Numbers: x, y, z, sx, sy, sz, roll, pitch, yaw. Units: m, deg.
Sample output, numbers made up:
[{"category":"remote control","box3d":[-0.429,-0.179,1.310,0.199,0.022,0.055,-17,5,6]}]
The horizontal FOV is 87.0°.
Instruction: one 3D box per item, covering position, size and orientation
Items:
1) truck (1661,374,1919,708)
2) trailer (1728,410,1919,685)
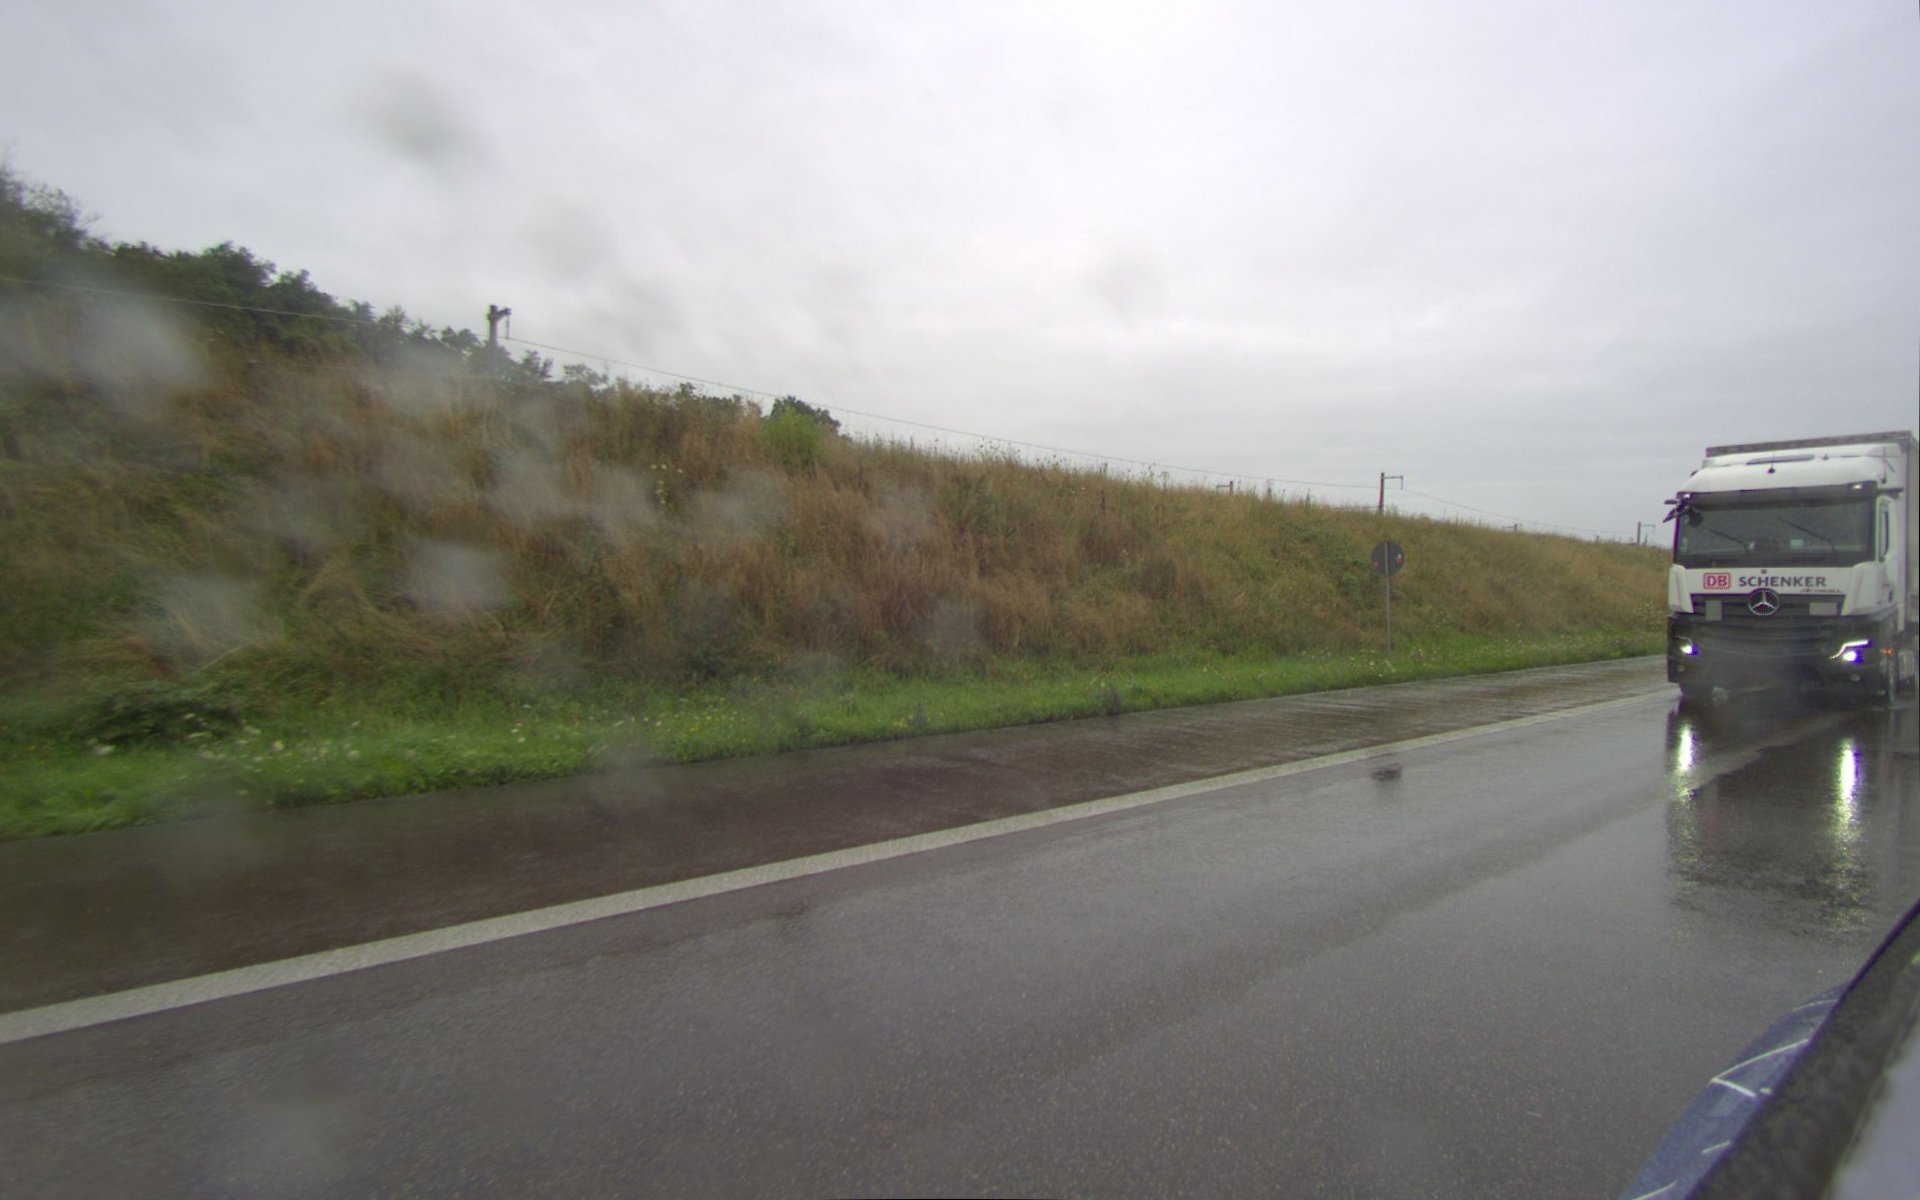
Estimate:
[{"category":"truck","box3d":[13.126,-0.790,15.696,4.956,4.307,2.630,-1,0,-42]},{"category":"trailer","box3d":[19.536,-0.895,21.319,13.930,4.302,2.631,-1,0,-41]}]
